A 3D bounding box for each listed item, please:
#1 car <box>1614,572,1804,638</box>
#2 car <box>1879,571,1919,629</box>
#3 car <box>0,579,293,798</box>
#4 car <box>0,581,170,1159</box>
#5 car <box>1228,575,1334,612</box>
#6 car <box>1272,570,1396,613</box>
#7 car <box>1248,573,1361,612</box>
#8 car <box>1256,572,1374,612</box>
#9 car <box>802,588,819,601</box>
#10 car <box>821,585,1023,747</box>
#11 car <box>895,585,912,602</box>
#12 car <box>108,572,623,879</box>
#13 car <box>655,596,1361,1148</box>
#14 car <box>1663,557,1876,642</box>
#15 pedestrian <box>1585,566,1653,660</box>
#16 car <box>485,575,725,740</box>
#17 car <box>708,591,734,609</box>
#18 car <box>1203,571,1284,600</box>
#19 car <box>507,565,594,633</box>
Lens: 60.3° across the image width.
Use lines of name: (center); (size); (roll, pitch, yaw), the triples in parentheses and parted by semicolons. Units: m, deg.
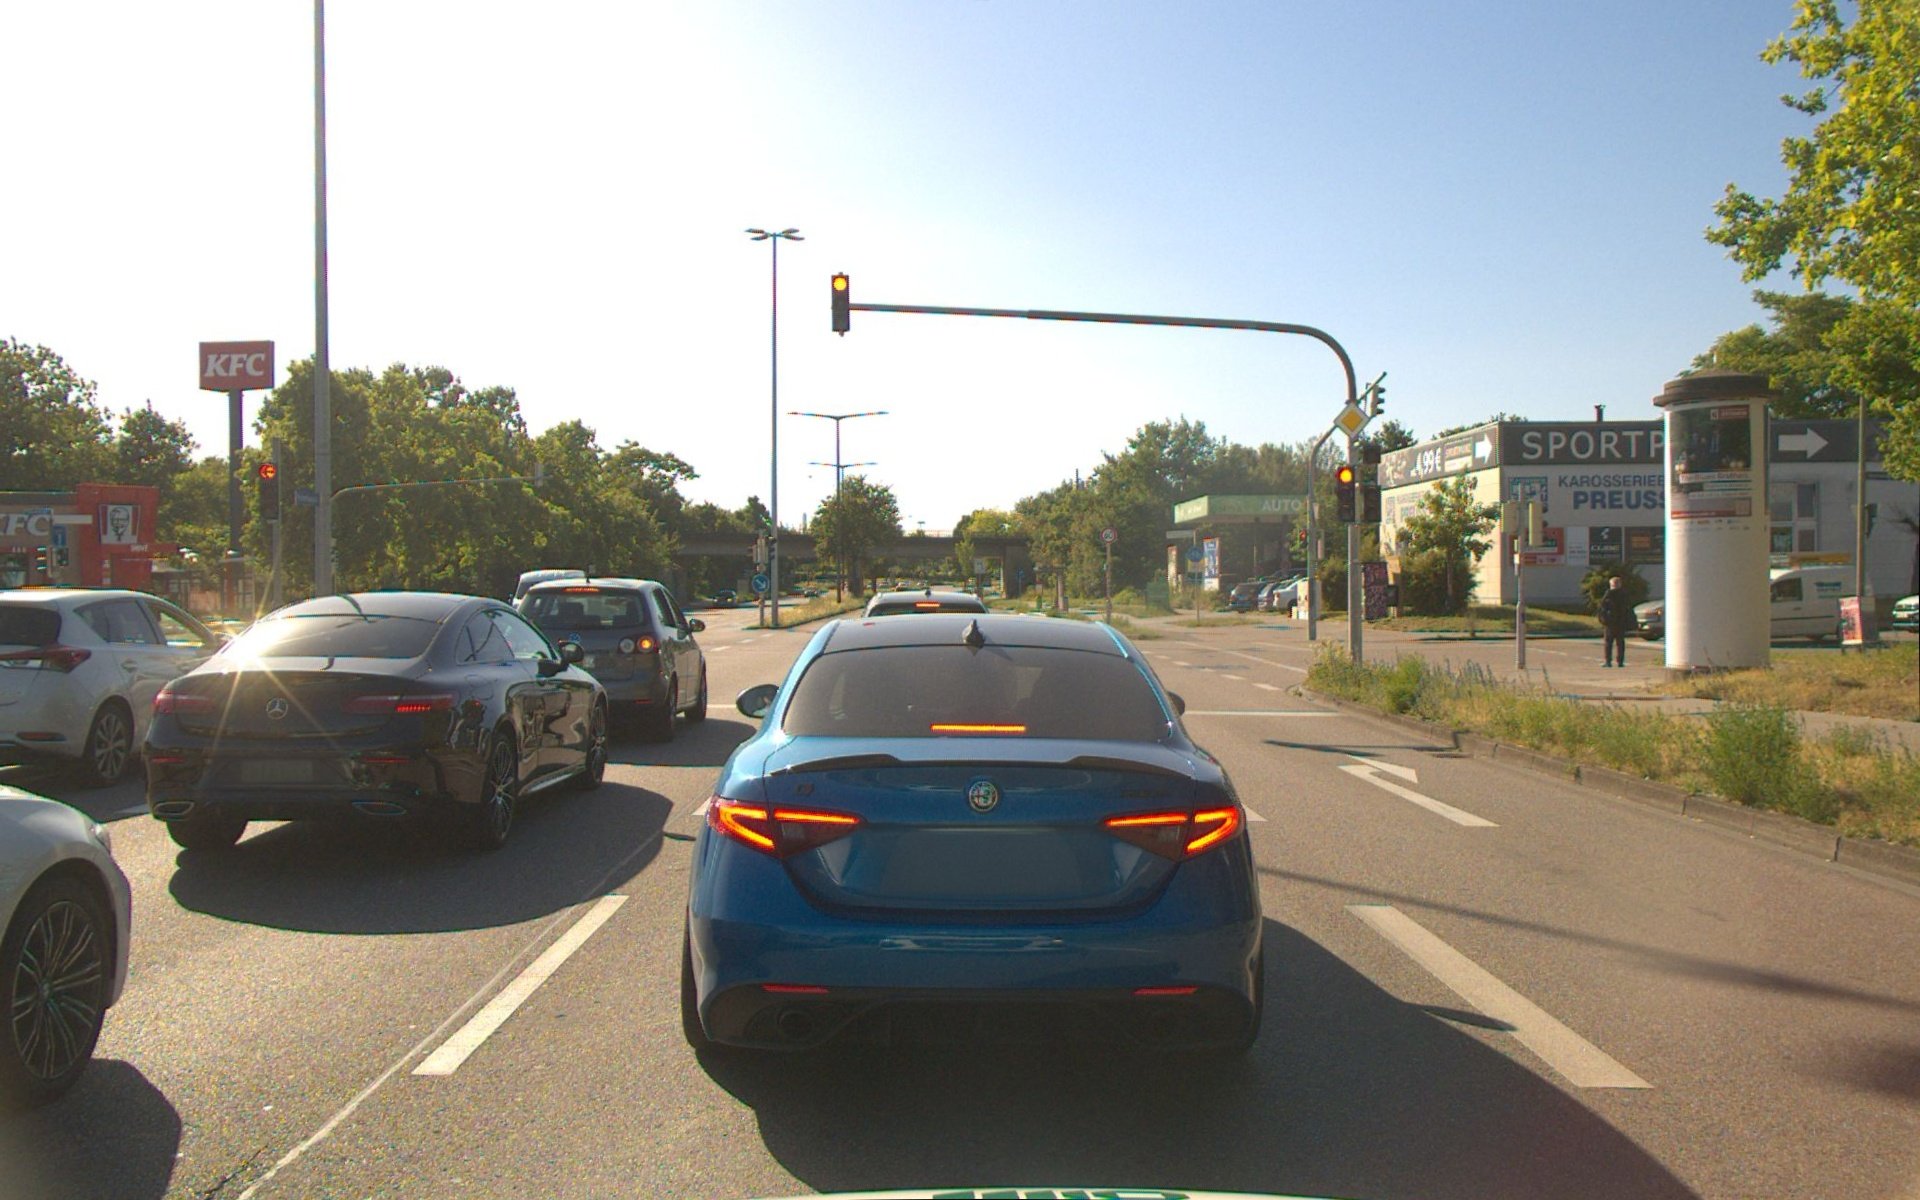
car: (19.594, 0.109, 43.375); (4.201, 1.576, 1.764); (-1, 2, -2)
car: (26.787, -0.061, 43.774); (3.960, 1.516, 1.782); (-2, 0, -3)
car: (-7.128, 0.612, 13.545); (1.723, 1.516, 4.195); (1, 0, -2)
car: (-3.343, 0.690, 3.045); (1.749, 1.516, 4.401); (1, 0, -2)
car: (14.397, -0.292, 74.373); (4.397, 1.479, 1.858); (-2, 0, 1)
car: (14.605, -0.324, 64.793); (4.397, 1.479, 1.858); (-2, 0, 1)
car: (14.626, -0.300, 70.326); (4.397, 1.479, 1.858); (-2, 0, 1)
car: (14.482, -0.323, 67.570); (4.397, 1.479, 1.858); (-2, 0, 1)
car: (-19.130, -0.723, 211.568); (1.723, 1.516, 4.477); (-2, 0, -1)
car: (-0.413, 0.605, 17.219); (1.813, 1.443, 4.401); (1, 0, -2)
car: (-6.389, -0.715, 187.239); (1.853, 1.847, 3.999); (1, 0, -1)
car: (-3.438, 0.640, 10.549); (1.760, 1.516, 4.474); (1, 0, -2)
car: (0.069, 0.736, 6.591); (1.857, 1.443, 4.401); (1, 0, -2)
car: (19.525, -0.036, 40.004); (4.293, 1.832, 1.765); (-1, 3, -2)
pedestrian: (12.732, 0.253, 31.985); (0.906, 1.765, 0.938); (1, -1, -1)
car: (-3.624, 0.544, 17.647); (1.723, 1.516, 4.401); (1, 0, -2)
car: (-21.488, 0.028, 148.728); (1.723, 1.516, 4.477); (-2, 0, -1)
car: (16.718, -0.853, 97.581); (4.457, 1.516, 1.765); (-2, 0, 1)
car: (-16.329, -0.046, 66.260); (1.981, 2.489, 5.820); (-3, 0, -1)
